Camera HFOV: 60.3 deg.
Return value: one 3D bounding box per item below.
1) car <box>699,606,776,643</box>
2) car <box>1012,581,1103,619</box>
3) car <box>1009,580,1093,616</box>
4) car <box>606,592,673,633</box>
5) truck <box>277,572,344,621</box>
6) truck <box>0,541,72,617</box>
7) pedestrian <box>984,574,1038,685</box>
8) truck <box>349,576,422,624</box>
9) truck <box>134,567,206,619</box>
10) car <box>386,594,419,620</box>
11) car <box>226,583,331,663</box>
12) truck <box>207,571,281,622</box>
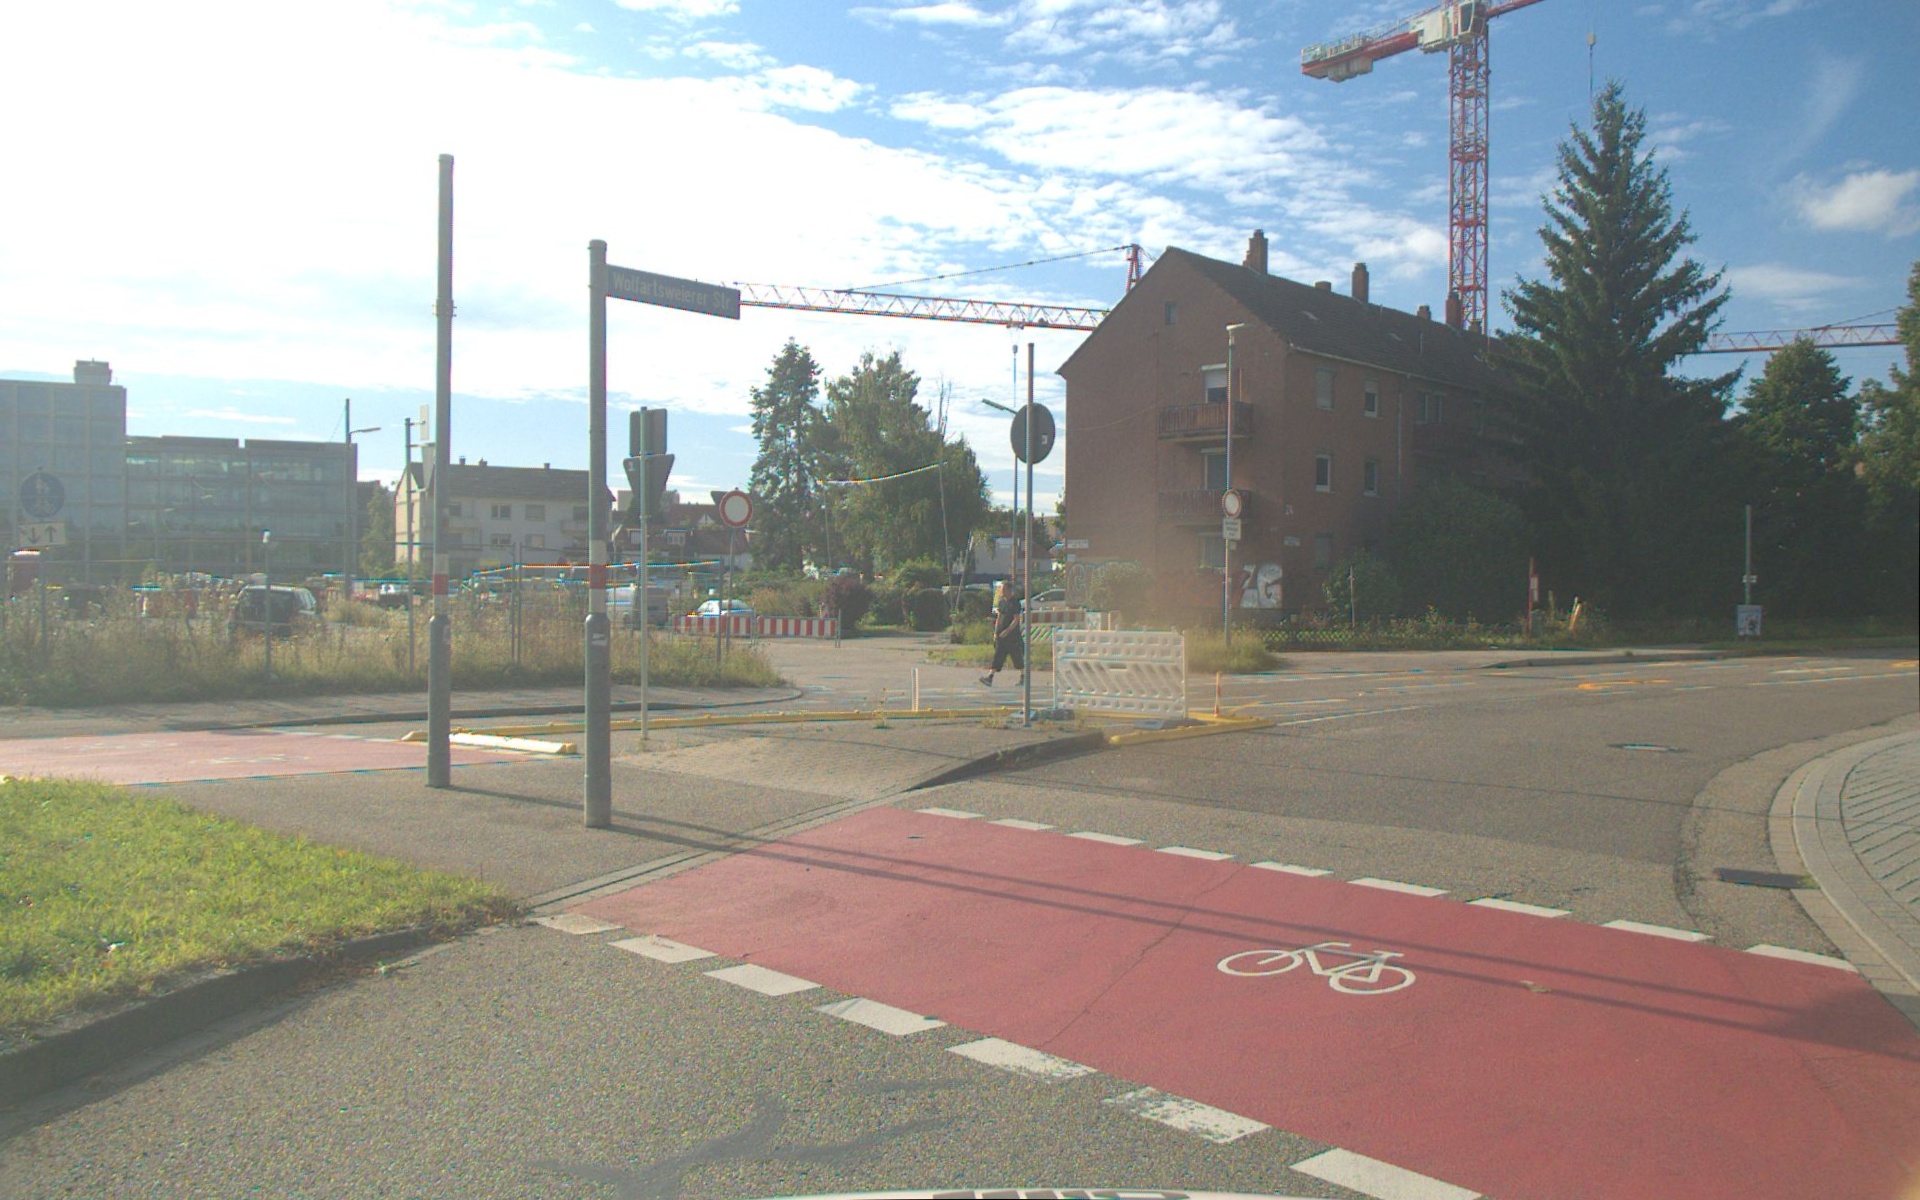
[{"bbox_3d":[-9.152,0.975,67.942,1.699,1.417,3.957,0,0,-31],"label":"car"},{"bbox_3d":[4.354,0.009,73.726,3.902,1.646,1.775,0,0,9],"label":"car"},{"bbox_3d":[4.346,-0.097,79.535,3.907,1.646,1.772,0,0,-2],"label":"car"},{"bbox_3d":[-15.020,0.549,77.407,1.861,1.847,3.957,0,0,-31],"label":"car"},{"bbox_3d":[-32.112,-0.183,81.708,2.038,2.369,5.575,1,0,-33],"label":"truck"},{"bbox_3d":[-42.016,-0.930,74.766,2.781,3.263,7.233,1,0,-33],"label":"truck"},{"bbox_3d":[0.895,0.512,28.899,0.654,1.903,0.834,0,0,26],"label":"pedestrian"},{"bbox_3d":[-28.921,-0.013,83.157,2.264,2.369,5.575,1,0,-33],"label":"truck"},{"bbox_3d":[-37.374,-0.331,78.137,2.306,2.369,6.380,1,0,-33],"label":"truck"},{"bbox_3d":[-40.613,0.489,120.500,1.967,1.892,3.971,0,0,-23],"label":"car"},{"bbox_3d":[-16.459,0.526,40.121,1.848,1.847,3.983,0,0,-16],"label":"car"},{"bbox_3d":[-34.722,-0.184,80.132,2.306,2.369,6.380,1,0,-33],"label":"truck"}]
